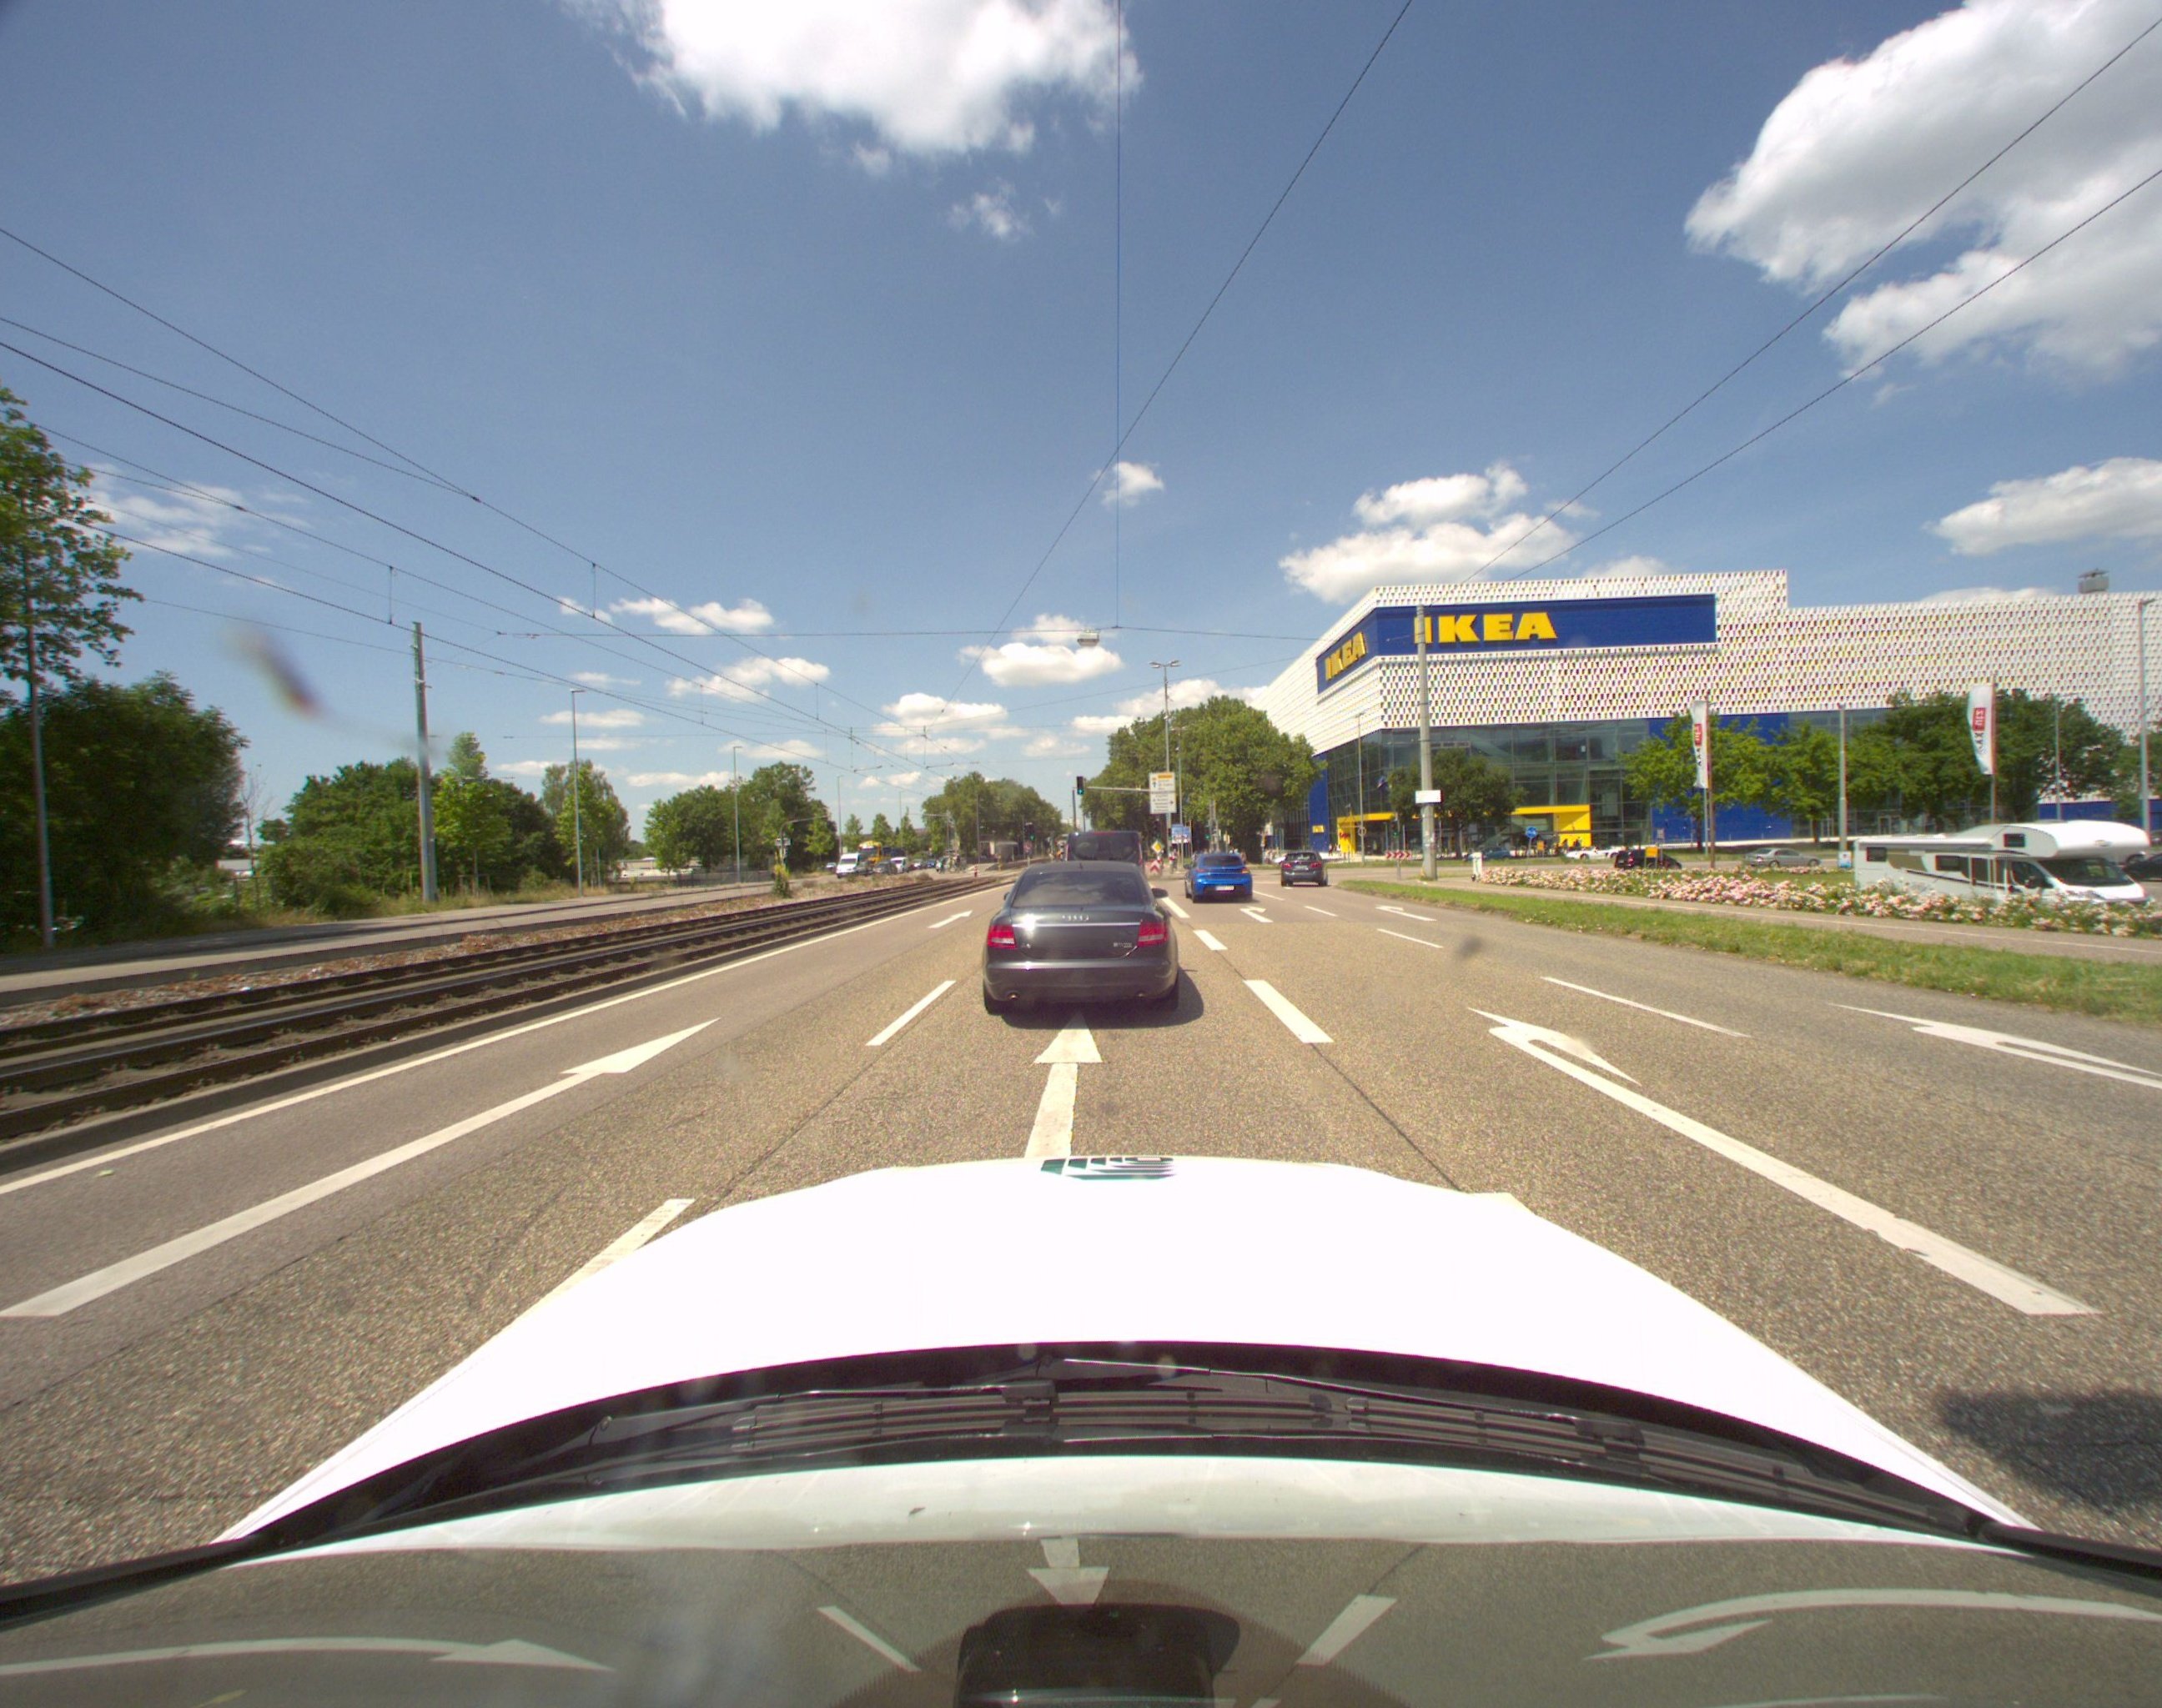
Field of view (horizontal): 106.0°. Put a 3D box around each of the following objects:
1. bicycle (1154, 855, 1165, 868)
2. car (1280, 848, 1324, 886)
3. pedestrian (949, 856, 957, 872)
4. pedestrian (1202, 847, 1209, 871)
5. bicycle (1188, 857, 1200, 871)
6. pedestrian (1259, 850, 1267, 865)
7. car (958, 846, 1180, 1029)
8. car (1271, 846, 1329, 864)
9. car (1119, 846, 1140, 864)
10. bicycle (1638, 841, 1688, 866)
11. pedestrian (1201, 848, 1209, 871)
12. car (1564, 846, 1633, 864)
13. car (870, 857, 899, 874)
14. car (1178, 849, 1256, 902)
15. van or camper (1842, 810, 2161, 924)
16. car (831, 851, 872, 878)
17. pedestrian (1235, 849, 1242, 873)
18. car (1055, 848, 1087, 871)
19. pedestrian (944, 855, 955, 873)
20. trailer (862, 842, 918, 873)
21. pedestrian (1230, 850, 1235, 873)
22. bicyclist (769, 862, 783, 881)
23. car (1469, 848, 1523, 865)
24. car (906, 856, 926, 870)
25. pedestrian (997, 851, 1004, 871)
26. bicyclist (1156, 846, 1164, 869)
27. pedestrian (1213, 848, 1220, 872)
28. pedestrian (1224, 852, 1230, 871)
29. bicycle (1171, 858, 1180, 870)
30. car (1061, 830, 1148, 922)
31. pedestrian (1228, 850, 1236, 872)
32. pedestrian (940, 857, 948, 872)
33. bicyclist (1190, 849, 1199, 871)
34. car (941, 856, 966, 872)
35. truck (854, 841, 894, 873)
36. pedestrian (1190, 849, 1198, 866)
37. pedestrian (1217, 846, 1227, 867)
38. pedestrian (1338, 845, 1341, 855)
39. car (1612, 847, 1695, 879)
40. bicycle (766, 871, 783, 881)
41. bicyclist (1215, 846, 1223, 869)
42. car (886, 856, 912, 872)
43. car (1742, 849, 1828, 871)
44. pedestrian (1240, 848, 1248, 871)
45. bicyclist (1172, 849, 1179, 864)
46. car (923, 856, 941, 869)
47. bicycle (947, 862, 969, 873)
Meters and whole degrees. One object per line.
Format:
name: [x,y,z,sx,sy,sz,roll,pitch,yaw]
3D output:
bicycle: [6.270,0.581,64.926,0.685,0.993,2.753,-1,0,2]
car: [9.777,0.533,36.021,1.748,1.526,4.116,-1,0,15]
pedestrian: [-12.516,0.970,79.386,0.683,1.564,0.572,-1,0,-2]
pedestrian: [8.725,0.346,57.260,0.443,1.635,0.430,-1,0,5]
bicycle: [8.692,0.785,62.810,0.685,1.006,2.753,-1,0,2]
pedestrian: [19.141,0.389,85.500,0.698,1.544,0.681,-1,0,21]
car: [-0.032,0.680,8.766,1.786,1.455,4.002,-2,0,2]
car: [18.363,0.093,68.442,4.475,1.486,2.003,0,0,5]
car: [6.318,0.099,106.338,1.990,2.309,4.767,-1,0,-5]
bicycle: [36.906,-0.034,51.694,2.410,1.481,0.990,-1,0,6]
pedestrian: [8.710,0.378,57.262,0.551,1.635,0.433,-1,0,4]
car: [42.902,0.097,67.615,4.475,1.486,2.003,0,0,5]
car: [-20.646,1.214,85.904,1.815,1.670,4.463,0,0,2]
car: [4.035,0.581,24.699,1.830,1.454,4.002,0,0,2]
van or camper: [28.202,0.343,25.509,2.494,3.020,7.235,-1,0,6]
car: [-24.240,1.033,86.278,2.235,2.588,6.236,-4,1,1]
pedestrian: [10.892,0.502,56.277,0.396,1.635,0.371,-1,0,4]
car: [-0.666,0.345,55.841,1.986,1.486,4.002,0,0,2]
pedestrian: [-13.080,0.986,81.102,0.816,1.720,0.779,-1,0,24]
trailer: [-23.849,0.365,102.859,2.757,3.518,15.884,-1,0,2]
pedestrian: [10.488,0.521,56.295,0.319,1.635,0.377,-1,0,5]
bicyclist: [-29.126,1.683,77.751,1.116,1.774,0.340,-1,0,-3]
car: [36.042,0.220,70.819,3.770,1.486,2.003,0,0,5]
car: [-23.189,1.232,114.442,1.811,1.883,4.002,-1,0,2]
pedestrian: [-7.951,0.674,80.328,0.683,2.014,0.572,-1,0,-3]
bicyclist: [6.208,0.258,64.360,0.526,1.789,1.089,-1,0,2]
pedestrian: [9.302,0.417,55.939,0.379,1.635,0.377,-1,0,5]
pedestrian: [10.088,0.539,56.138,0.371,1.304,0.365,-1,0,5]
bicycle: [7.385,0.789,63.851,0.548,0.877,1.698,-1,0,1]
car: [0.569,0.483,19.682,1.830,1.950,4.001,-1,0,2]
pedestrian: [11.160,0.532,60.192,0.501,1.635,0.449,-1,0,4]
pedestrian: [-13.201,1.032,78.290,0.683,1.443,0.572,-1,0,-2]
bicyclist: [8.752,0.448,62.772,0.526,1.676,1.088,-1,0,2]
car: [-14.279,1.101,91.523,1.814,1.670,4.467,0,0,4]
truck: [-24.087,0.376,95.137,2.757,3.569,6.442,-1,0,2]
pedestrian: [10.096,0.276,72.670,0.490,1.520,0.710,-1,0,19]
pedestrian: [12.266,0.230,70.778,0.678,1.846,0.711,-1,0,27]
pedestrian: [33.124,-0.524,104.181,0.287,1.342,0.266,-1,0,1]
car: [38.563,0.620,54.947,4.164,2.013,2.001,-1,0,2]
bicycle: [-29.275,2.092,77.772,1.487,0.987,0.485,-1,0,-2]
bicyclist: [11.143,0.283,65.786,0.525,1.764,0.831,-1,0,15]
car: [-20.723,1.136,92.870,1.814,1.670,4.465,0,0,3]
car: [48.493,0.421,56.161,4.134,1.486,2.002,0,0,3]
pedestrian: [12.038,0.418,60.140,0.518,1.670,0.495,-1,0,5]
bicyclist: [7.364,0.206,63.595,0.468,1.193,0.792,-1,0,4]
car: [-22.637,1.246,124.083,1.811,1.883,4.002,-1,0,2]
bicycle: [-11.715,1.290,77.411,2.055,0.925,0.751,-1,0,-8]
